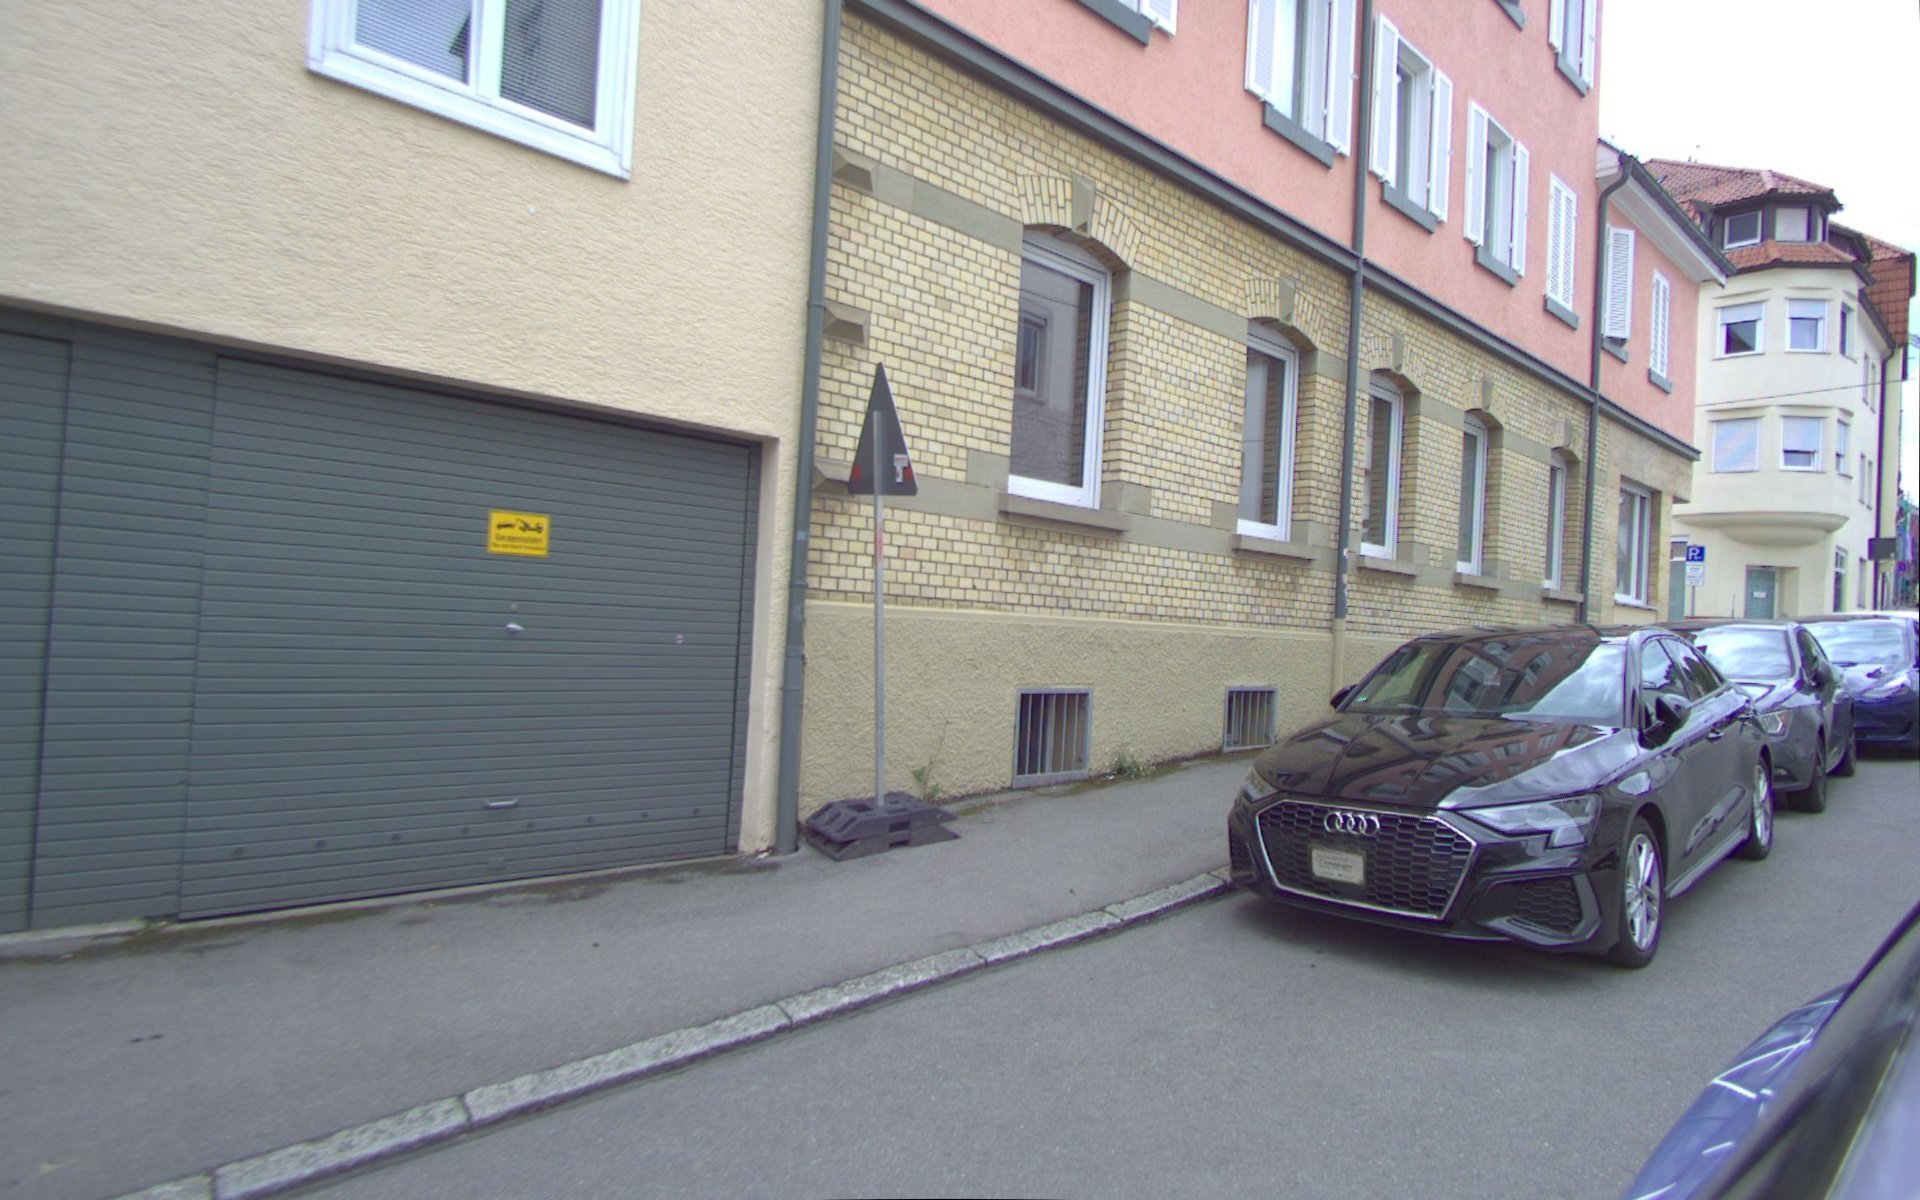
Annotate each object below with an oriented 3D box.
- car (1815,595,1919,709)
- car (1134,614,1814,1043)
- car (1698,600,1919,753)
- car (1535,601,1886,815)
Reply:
[{"bbox_3d":[14.020,0.725,15.014,3.565,1.498,1.669,1,1,-44],"label":"car"},{"bbox_3d":[3.104,0.815,5.587,4.496,1.422,1.854,1,-2,-42],"label":"car"},{"bbox_3d":[10.030,0.748,11.420,4.216,1.421,1.855,1,-1,-41],"label":"car"},{"bbox_3d":[6.648,0.752,8.810,3.900,1.421,1.854,1,-1,-44],"label":"car"}]
